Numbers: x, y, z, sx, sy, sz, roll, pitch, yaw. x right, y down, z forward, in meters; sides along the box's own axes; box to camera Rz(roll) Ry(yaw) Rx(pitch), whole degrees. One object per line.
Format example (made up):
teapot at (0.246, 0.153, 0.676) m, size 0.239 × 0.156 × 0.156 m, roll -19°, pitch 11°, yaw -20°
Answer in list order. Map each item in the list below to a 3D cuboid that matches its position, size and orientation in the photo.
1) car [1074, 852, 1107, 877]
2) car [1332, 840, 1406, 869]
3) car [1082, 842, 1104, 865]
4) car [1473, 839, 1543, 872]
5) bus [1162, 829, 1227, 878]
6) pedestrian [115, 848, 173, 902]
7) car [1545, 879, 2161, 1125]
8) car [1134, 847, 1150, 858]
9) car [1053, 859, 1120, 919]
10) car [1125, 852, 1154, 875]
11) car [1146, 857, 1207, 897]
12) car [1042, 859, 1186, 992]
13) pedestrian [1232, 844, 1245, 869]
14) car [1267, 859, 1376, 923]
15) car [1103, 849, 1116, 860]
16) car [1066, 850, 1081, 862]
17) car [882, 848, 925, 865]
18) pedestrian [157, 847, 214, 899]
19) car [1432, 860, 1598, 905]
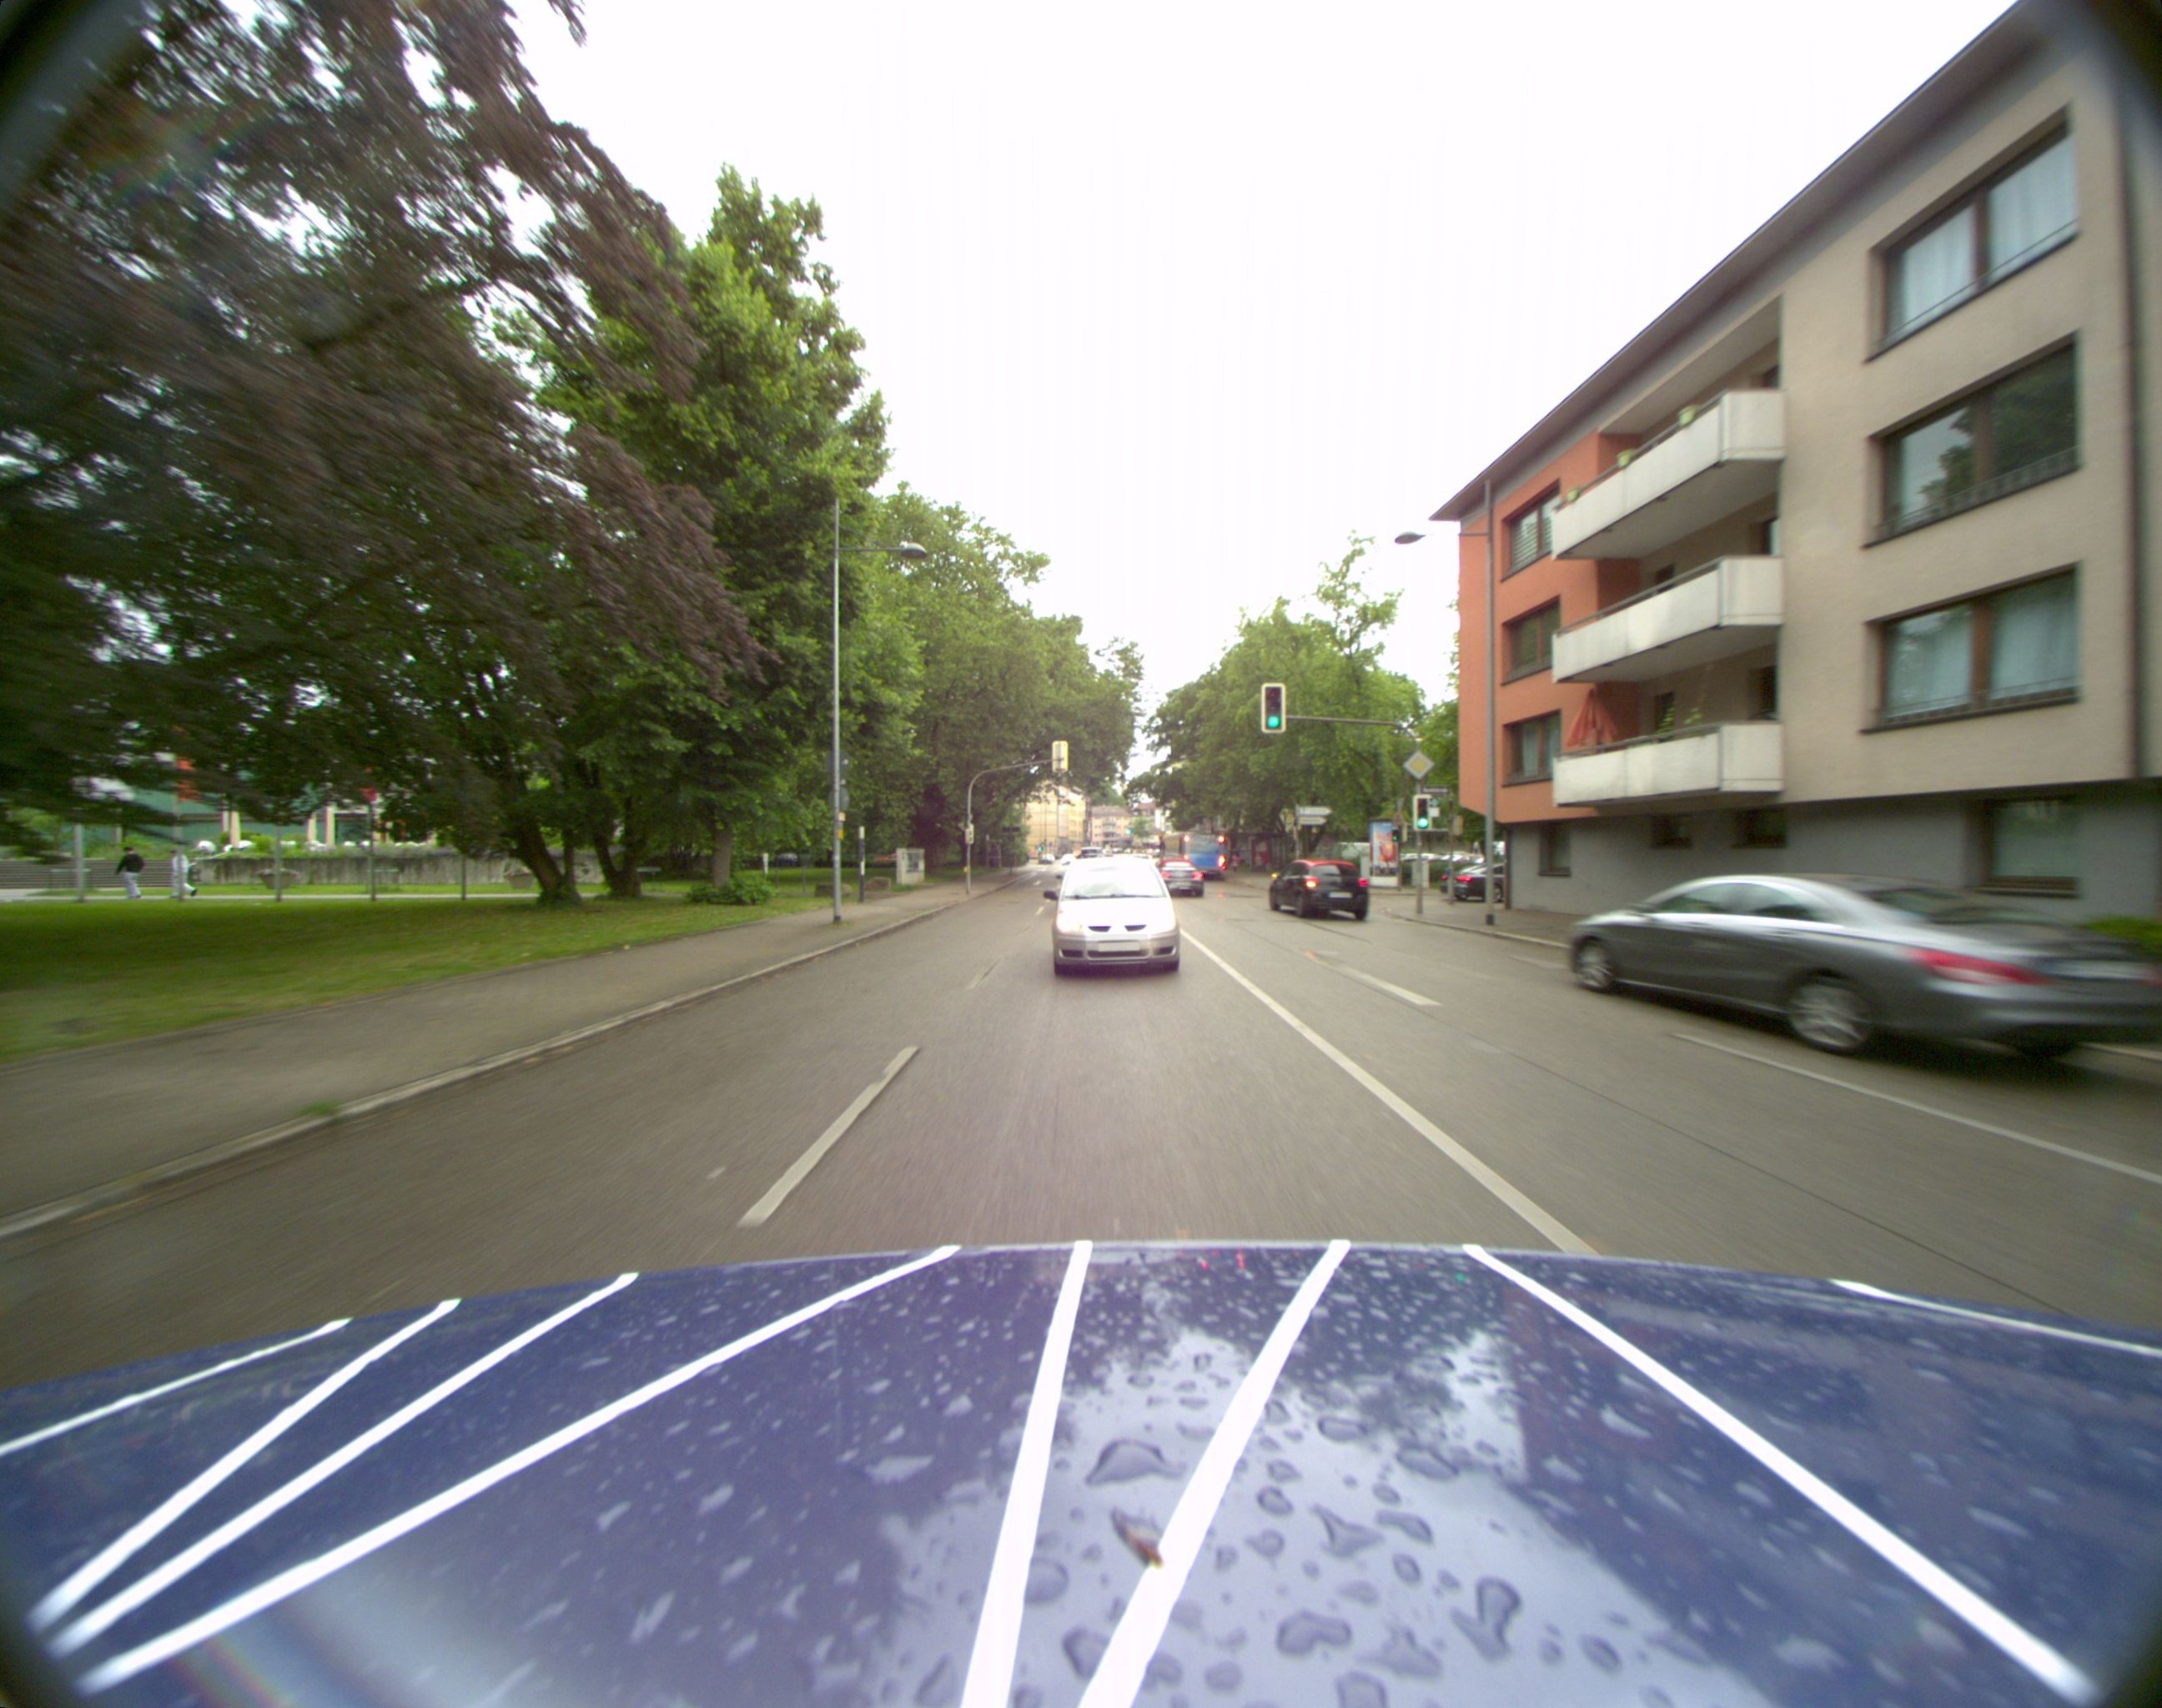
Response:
car at (0.612, 0.617, 47.039) m, size 1.800 × 1.449 × 4.492 m, roll 0°, pitch 0°, yaw 4°
car at (19.382, 0.036, 51.238) m, size 4.334 × 1.911 × 1.702 m, roll 0°, pitch 0°, yaw -2°
car at (1.178, -0.092, 72.004) m, size 2.037 × 2.119 × 4.000 m, roll 0°, pitch 1°, yaw 2°
car at (35.144, 0.119, 62.648) m, size 4.580 × 2.597 × 2.000 m, roll 0°, pitch 1°, yaw 2°
bus at (7.485, -0.119, 51.657) m, size 2.700 × 2.923 × 12.083 m, roll 1°, pitch 1°, yaw 1°
pedestrian at (-31.479, 0.683, 25.534) m, size 0.840 × 1.753 × 0.771 m, roll -3°, pitch 1°, yaw -5°
car at (6.655, 1.016, 7.137) m, size 1.817 × 1.407 × 4.683 m, roll 1°, pitch 0°, yaw 1°
car at (8.494, -0.218, 105.858) m, size 1.802 × 1.508 × 4.807 m, roll 1°, pitch 0°, yaw 0°
car at (0.151, 0.923, 21.884) m, size 1.718 × 1.509 × 4.088 m, roll -1°, pitch 0°, yaw 0°
car at (3.956, 0.589, 50.887) m, size 1.799 × 1.449 × 4.493 m, roll 1°, pitch 0°, yaw 6°
car at (3.596, 0.823, 29.298) m, size 1.798 × 1.407 × 4.335 m, roll 1°, pitch 0°, yaw 0°
car at (0.419, 0.896, 11.724) m, size 1.718 × 1.509 × 4.806 m, roll -2°, pitch 0°, yaw 0°
pedestrian at (11.500, 0.180, 55.513) m, size 0.711 × 1.759 × 0.687 m, roll -3°, pitch 1°, yaw 1°
car at (6.271, 0.910, 20.265) m, size 1.691 × 1.483 × 3.890 m, roll 1°, pitch 0°, yaw 0°
car at (4.251, 0.083, 112.963) m, size 1.802 × 1.508 × 4.580 m, roll 1°, pitch 0°, yaw 0°
car at (-0.999, 0.237, 104.386) m, size 1.906 × 1.538 × 4.000 m, roll 0°, pitch 1°, yaw 2°
car at (-18.587, 0.266, 79.642) m, size 3.998 × 1.706 × 1.999 m, roll 0°, pitch 0°, yaw -2°
pedestrian at (-31.404, 0.635, 26.658) m, size 0.840 × 1.753 × 0.879 m, roll -3°, pitch 1°, yaw -5°
car at (15.330, 0.983, 27.055) m, size 4.802 × 1.407 × 1.819 m, roll 1°, pitch 1°, yaw 3°
